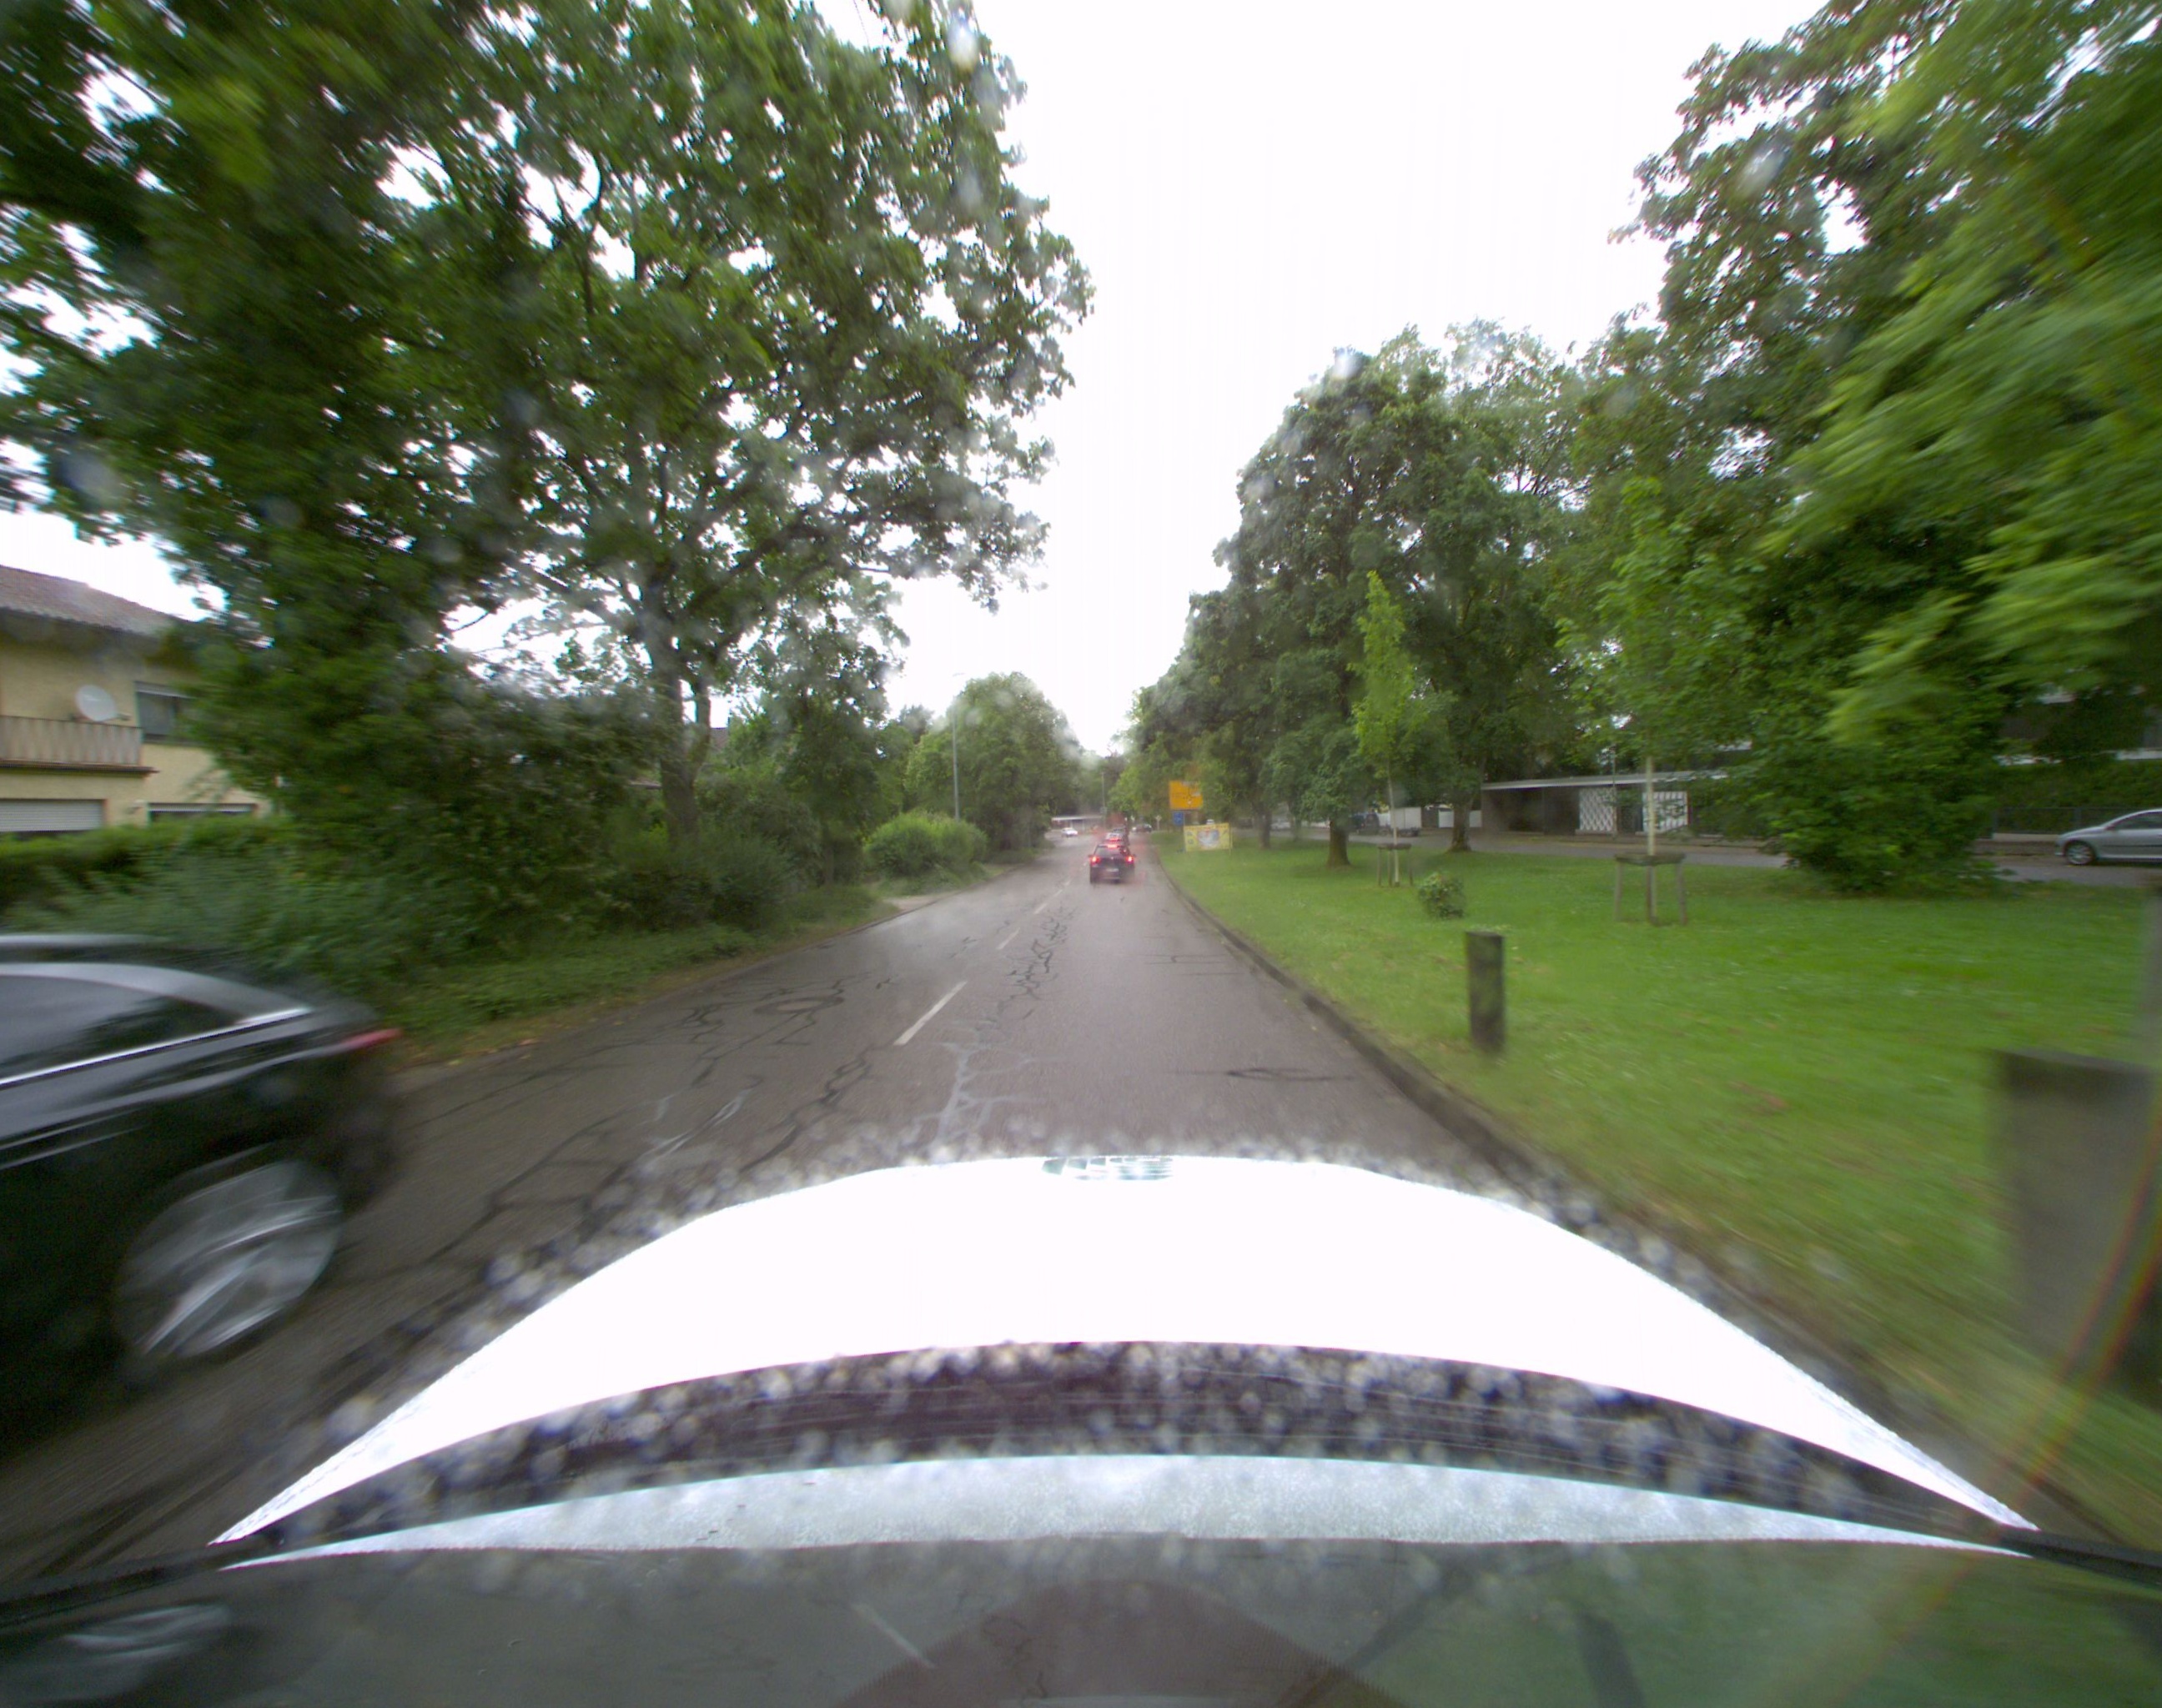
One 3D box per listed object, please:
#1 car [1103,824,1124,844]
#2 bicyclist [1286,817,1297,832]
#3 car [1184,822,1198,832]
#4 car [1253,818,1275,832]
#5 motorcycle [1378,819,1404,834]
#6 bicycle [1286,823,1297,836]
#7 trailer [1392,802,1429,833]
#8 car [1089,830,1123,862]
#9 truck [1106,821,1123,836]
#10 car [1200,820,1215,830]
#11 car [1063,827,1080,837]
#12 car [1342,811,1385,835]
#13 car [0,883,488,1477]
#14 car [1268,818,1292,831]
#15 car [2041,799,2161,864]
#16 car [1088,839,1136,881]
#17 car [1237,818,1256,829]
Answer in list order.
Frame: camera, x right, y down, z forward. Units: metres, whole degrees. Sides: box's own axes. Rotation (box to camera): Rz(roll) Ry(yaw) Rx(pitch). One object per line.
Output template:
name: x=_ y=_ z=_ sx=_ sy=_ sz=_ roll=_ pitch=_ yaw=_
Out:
car: x=3.117 y=-1.893 z=78.206 sx=1.848 sy=1.784 sz=4.004 roll=-2 pitch=2 yaw=3
bicyclist: x=19.568 y=-2.719 z=75.731 sx=0.741 sy=1.390 sz=1.001 roll=-2 pitch=1 yaw=3
car: x=17.420 y=-4.293 z=128.809 sx=1.796 sy=1.385 sz=4.004 roll=-4 pitch=3 yaw=3
car: x=23.257 y=-3.705 z=103.803 sx=1.796 sy=1.529 sz=4.113 roll=-4 pitch=3 yaw=0
motorcycle: x=23.853 y=-2.131 z=62.640 sx=1.869 sy=1.092 sz=0.662 roll=-2 pitch=3 yaw=22
bicycle: x=19.581 y=-2.250 z=75.693 sx=0.593 sy=1.138 sz=1.865 roll=-2 pitch=1 yaw=3
trailer: x=24.133 y=-2.641 z=59.728 sx=1.432 sy=2.154 sz=2.948 roll=-2 pitch=2 yaw=-2
car: x=1.564 y=-0.501 z=49.753 sx=1.848 sy=1.784 sz=4.004 roll=-2 pitch=2 yaw=3
truck: x=4.911 y=-3.825 z=121.264 sx=2.408 sy=2.004 sz=5.153 roll=-3 pitch=2 yaw=2
car: x=19.937 y=-4.557 z=128.640 sx=1.796 sy=1.405 sz=4.004 roll=-4 pitch=3 yaw=3
car: x=-1.666 y=-3.844 z=140.265 sx=1.767 sy=1.613 sz=4.120 roll=-4 pitch=2 yaw=-15
car: x=24.059 y=-2.676 z=69.528 sx=1.935 sy=1.808 sz=4.649 roll=-4 pitch=3 yaw=0
car: x=-3.578 y=0.923 z=1.439 sx=1.748 sy=1.363 sz=4.326 roll=-4 pitch=1 yaw=1
car: x=23.453 y=-3.493 z=96.008 sx=1.612 sy=1.409 sz=4.007 roll=-4 pitch=3 yaw=-2
car: x=24.831 y=-0.541 z=18.486 sx=1.676 sy=1.375 sz=3.710 roll=-5 pitch=1 yaw=0
car: x=1.262 y=0.211 z=32.359 sx=1.791 sy=1.515 sz=3.757 roll=0 pitch=2 yaw=3
car: x=23.473 y=-4.305 z=115.846 sx=1.796 sy=1.411 sz=4.113 roll=-4 pitch=3 yaw=0
